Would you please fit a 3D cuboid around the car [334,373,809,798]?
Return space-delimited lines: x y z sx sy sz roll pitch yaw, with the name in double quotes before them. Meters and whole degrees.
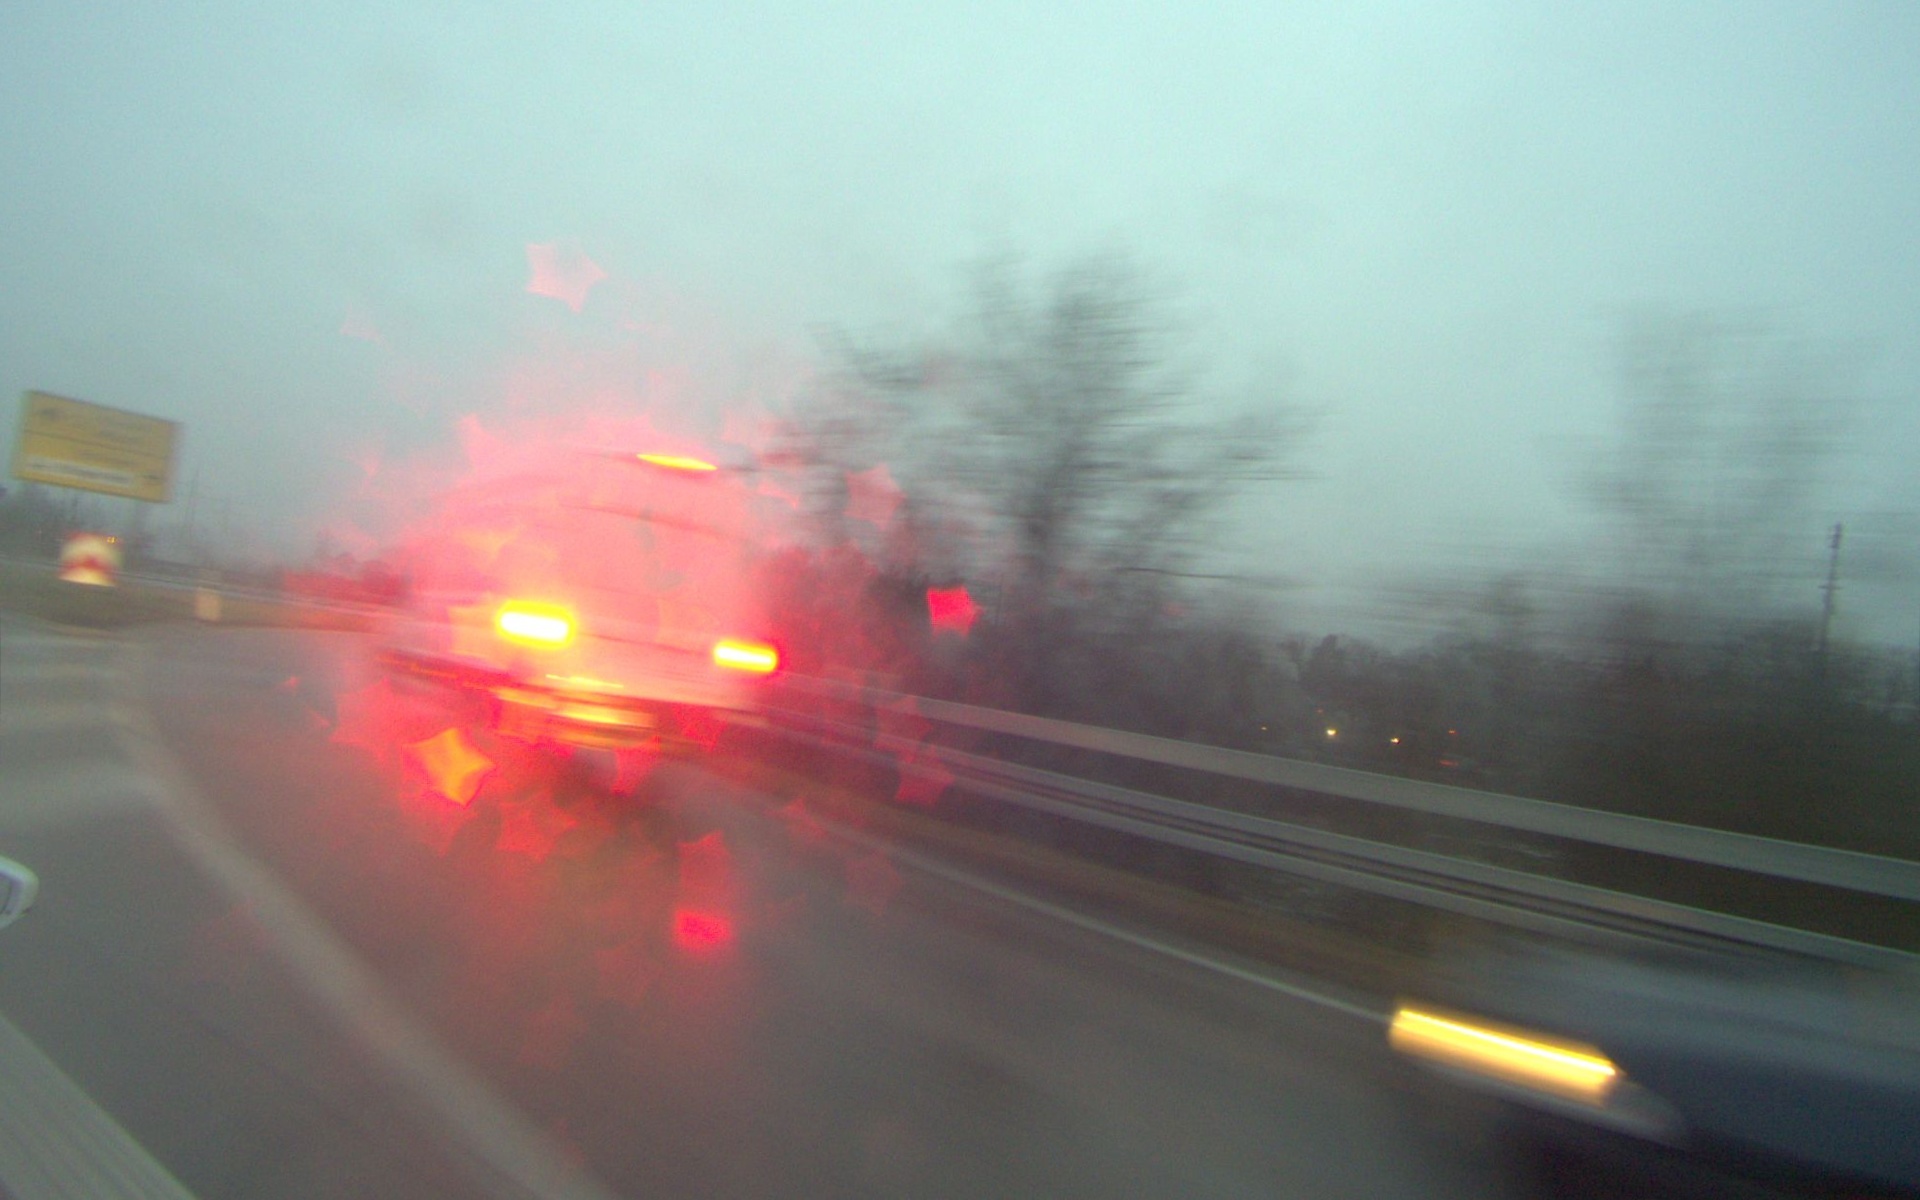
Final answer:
"car" -4.388 -0.162 10.354 2.275 2.998 6.320 11 -3 -40

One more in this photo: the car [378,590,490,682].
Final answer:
"car" -13.877 0.912 26.814 1.976 1.955 4.886 10 -4 -22

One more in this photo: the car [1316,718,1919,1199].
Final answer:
"car" 3.211 1.330 2.029 4.311 1.430 1.739 6 -4 37
